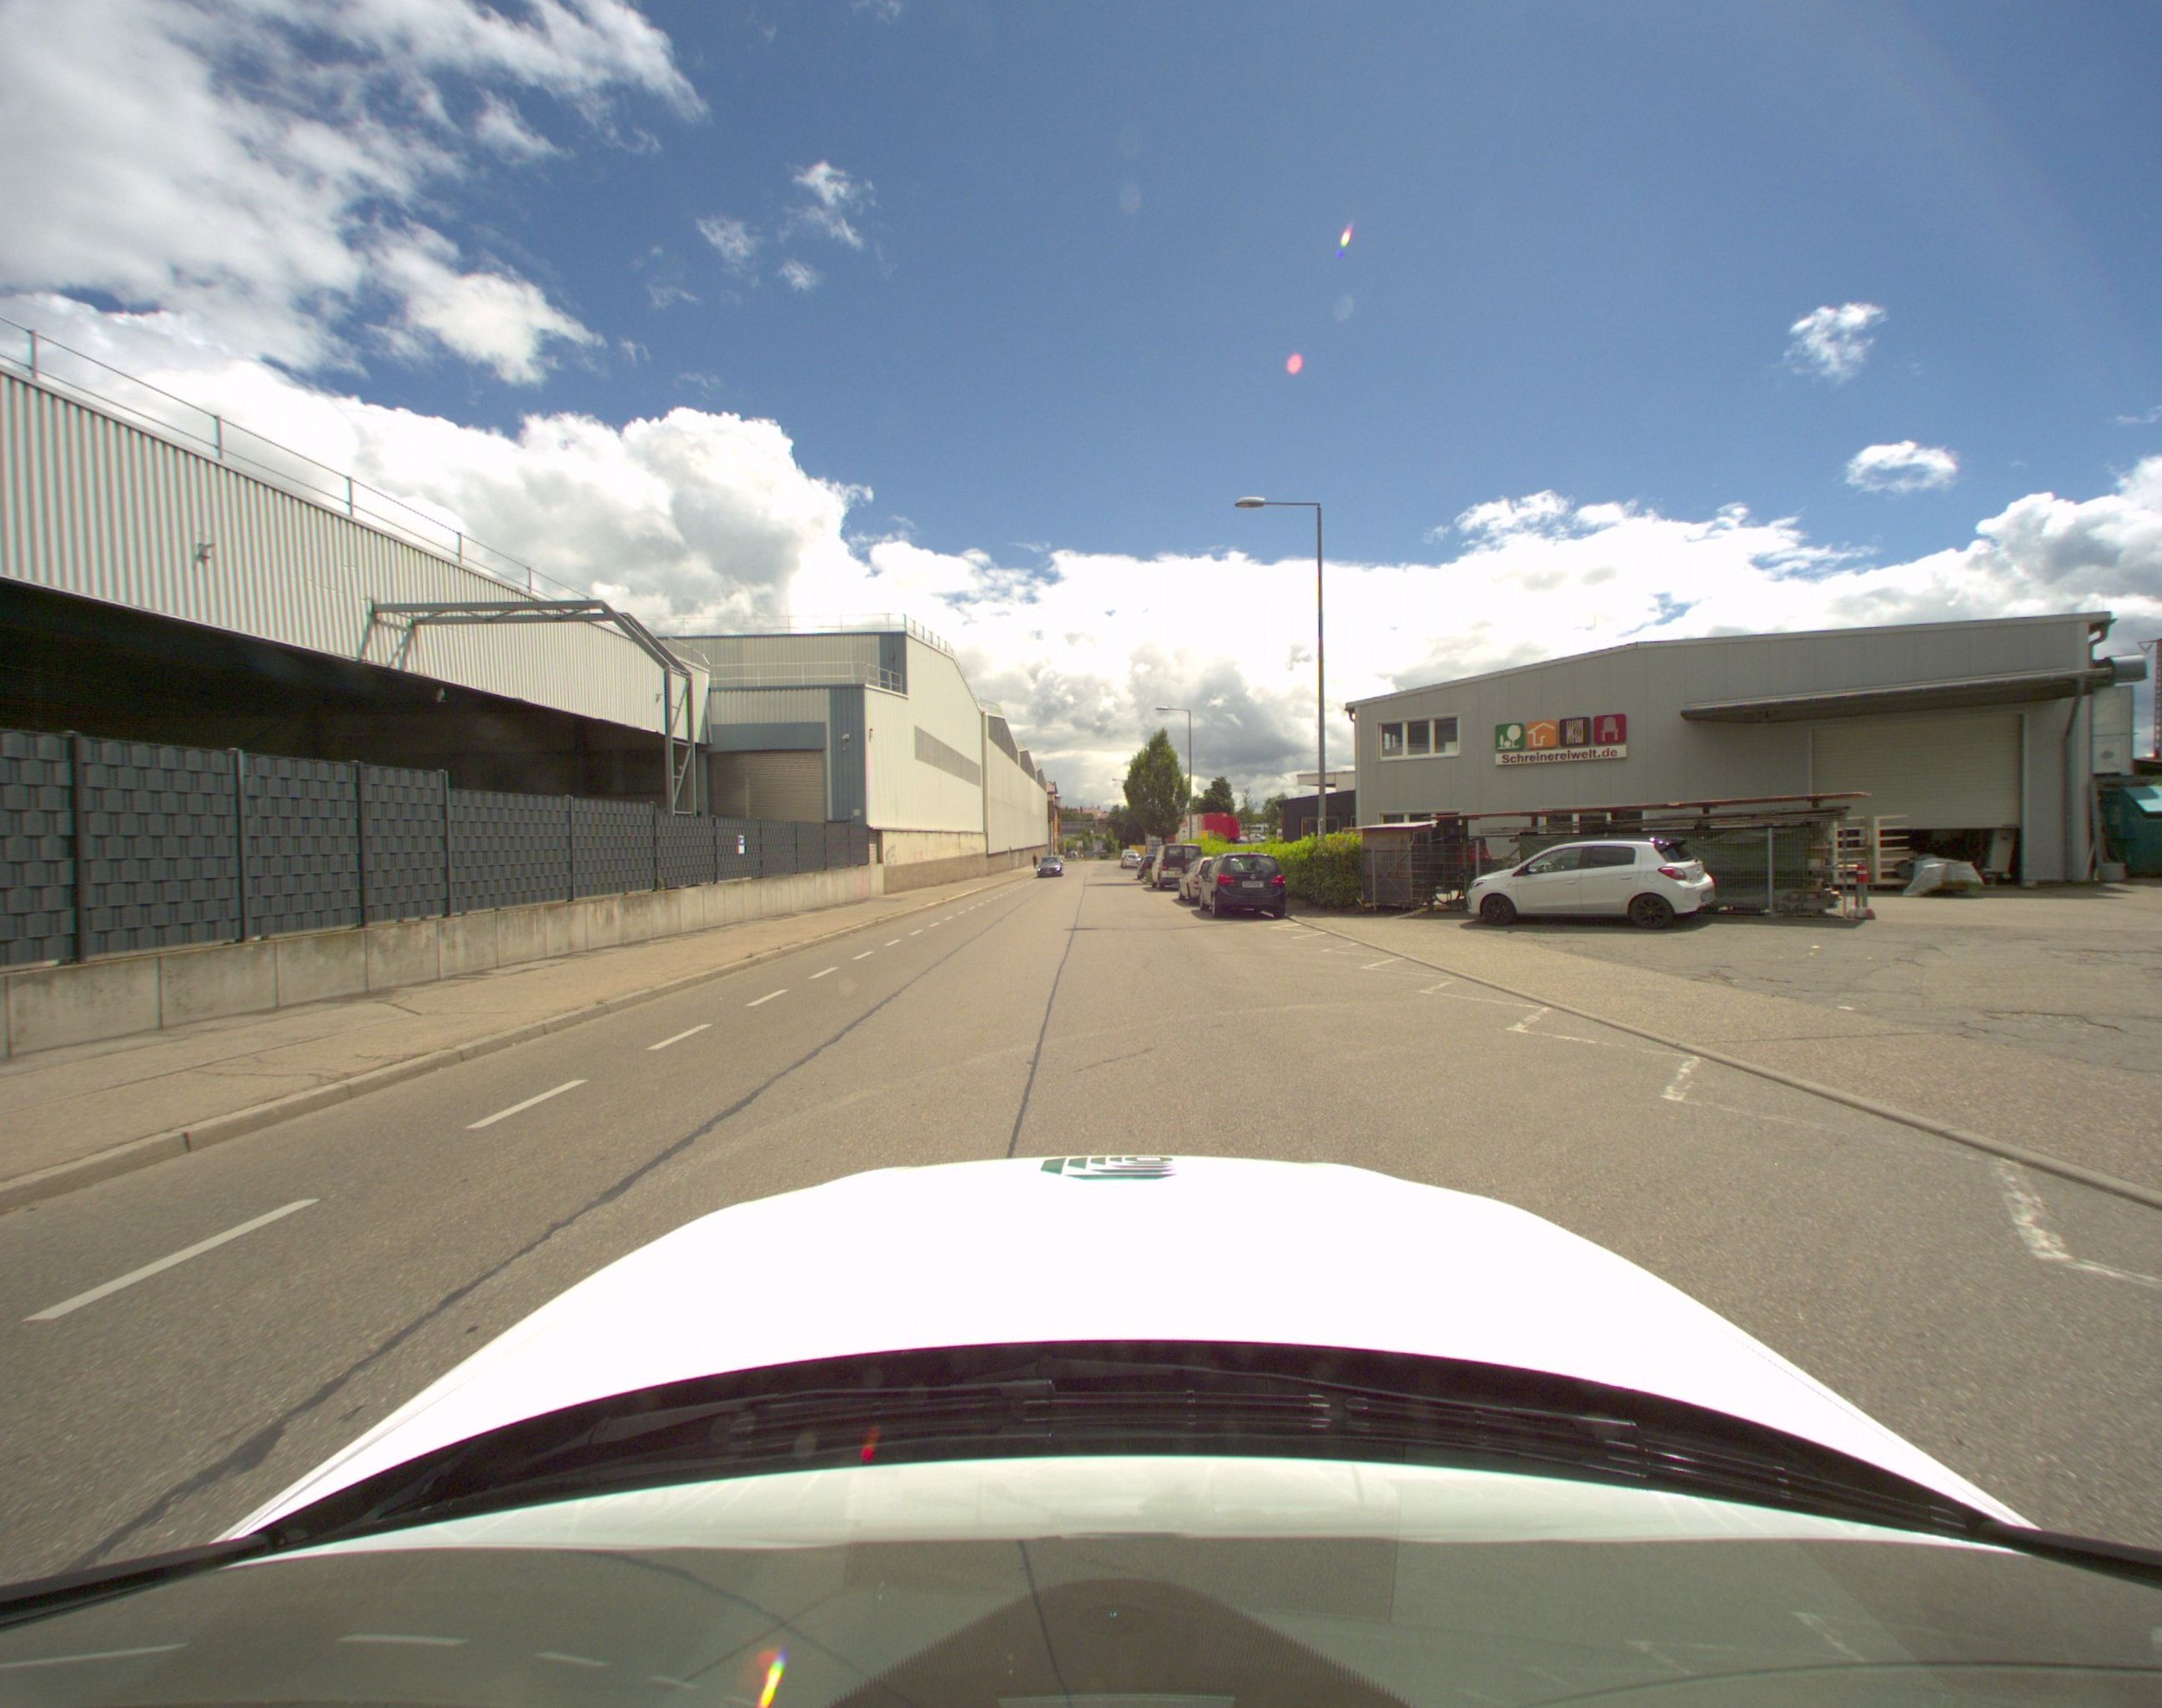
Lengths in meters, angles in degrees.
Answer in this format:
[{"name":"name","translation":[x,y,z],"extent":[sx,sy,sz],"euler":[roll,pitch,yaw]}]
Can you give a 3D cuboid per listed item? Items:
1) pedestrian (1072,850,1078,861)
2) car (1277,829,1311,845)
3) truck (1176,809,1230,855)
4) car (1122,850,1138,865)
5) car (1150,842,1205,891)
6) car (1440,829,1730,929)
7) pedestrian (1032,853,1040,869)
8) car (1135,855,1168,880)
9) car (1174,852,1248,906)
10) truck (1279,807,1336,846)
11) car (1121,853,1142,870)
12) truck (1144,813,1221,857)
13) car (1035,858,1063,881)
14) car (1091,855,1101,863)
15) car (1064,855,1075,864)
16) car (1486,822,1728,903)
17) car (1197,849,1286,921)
[{"name":"pedestrian","translation":[-0.985,0.281,130.541],"extent":[0.849,1.663,0.861],"euler":[-1,-2,5]},{"name":"car","translation":[38.779,-3.063,148.388],"extent":[5.590,2.677,2.010],"euler":[-2,-2,22]},{"name":"truck","translation":[12.917,-2.227,87.111],"extent":[2.580,4.449,7.818],"euler":[-1,-2,-16]},{"name":"car","translation":[5.449,0.385,90.915],"extent":[1.694,1.527,3.740],"euler":[-1,0,3]},{"name":"car","translation":[4.208,0.516,36.138],"extent":[1.862,1.990,5.144],"euler":[-1,0,1]},{"name":"car","translation":[8.885,0.458,14.665],"extent":[1.733,1.462,4.028],"euler":[-5,0,-37]},{"name":"pedestrian","translation":[-4.921,0.767,89.180],"extent":[0.710,1.638,0.777],"euler":[-1,-2,3]},{"name":"car","translation":[4.281,0.805,50.033],"extent":[1.708,1.473,4.511],"euler":[-1,0,1]},{"name":"car","translation":[4.049,0.748,26.035],"extent":[1.649,1.540,4.734],"euler":[-1,0,1]},{"name":"truck","translation":[26.377,-3.145,94.480],"extent":[2.961,4.060,8.530],"euler":[-3,-2,40]},{"name":"car","translation":[4.943,0.704,80.203],"extent":[1.697,1.527,3.734],"euler":[1,0,-3]},{"name":"truck","translation":[11.676,-2.097,93.942],"extent":[8.376,4.671,2.596],"euler":[-2,-2,22]},{"name":"car","translation":[-2.349,1.161,60.681],"extent":[1.713,1.555,4.287],"euler":[-5,-1,0]},{"name":"car","translation":[2.845,1.029,158.462],"extent":[1.846,1.486,3.999],"euler":[-1,-2,1]},{"name":"car","translation":[-2.073,1.040,147.195],"extent":[1.846,1.486,3.999],"euler":[-1,-2,1]},{"name":"car","translation":[11.313,0.237,17.777],"extent":[1.696,1.505,4.028],"euler":[-5,0,-37]},{"name":"car","translation":[4.045,0.730,21.115],"extent":[1.672,1.638,4.125],"euler":[-1,0,3]}]
